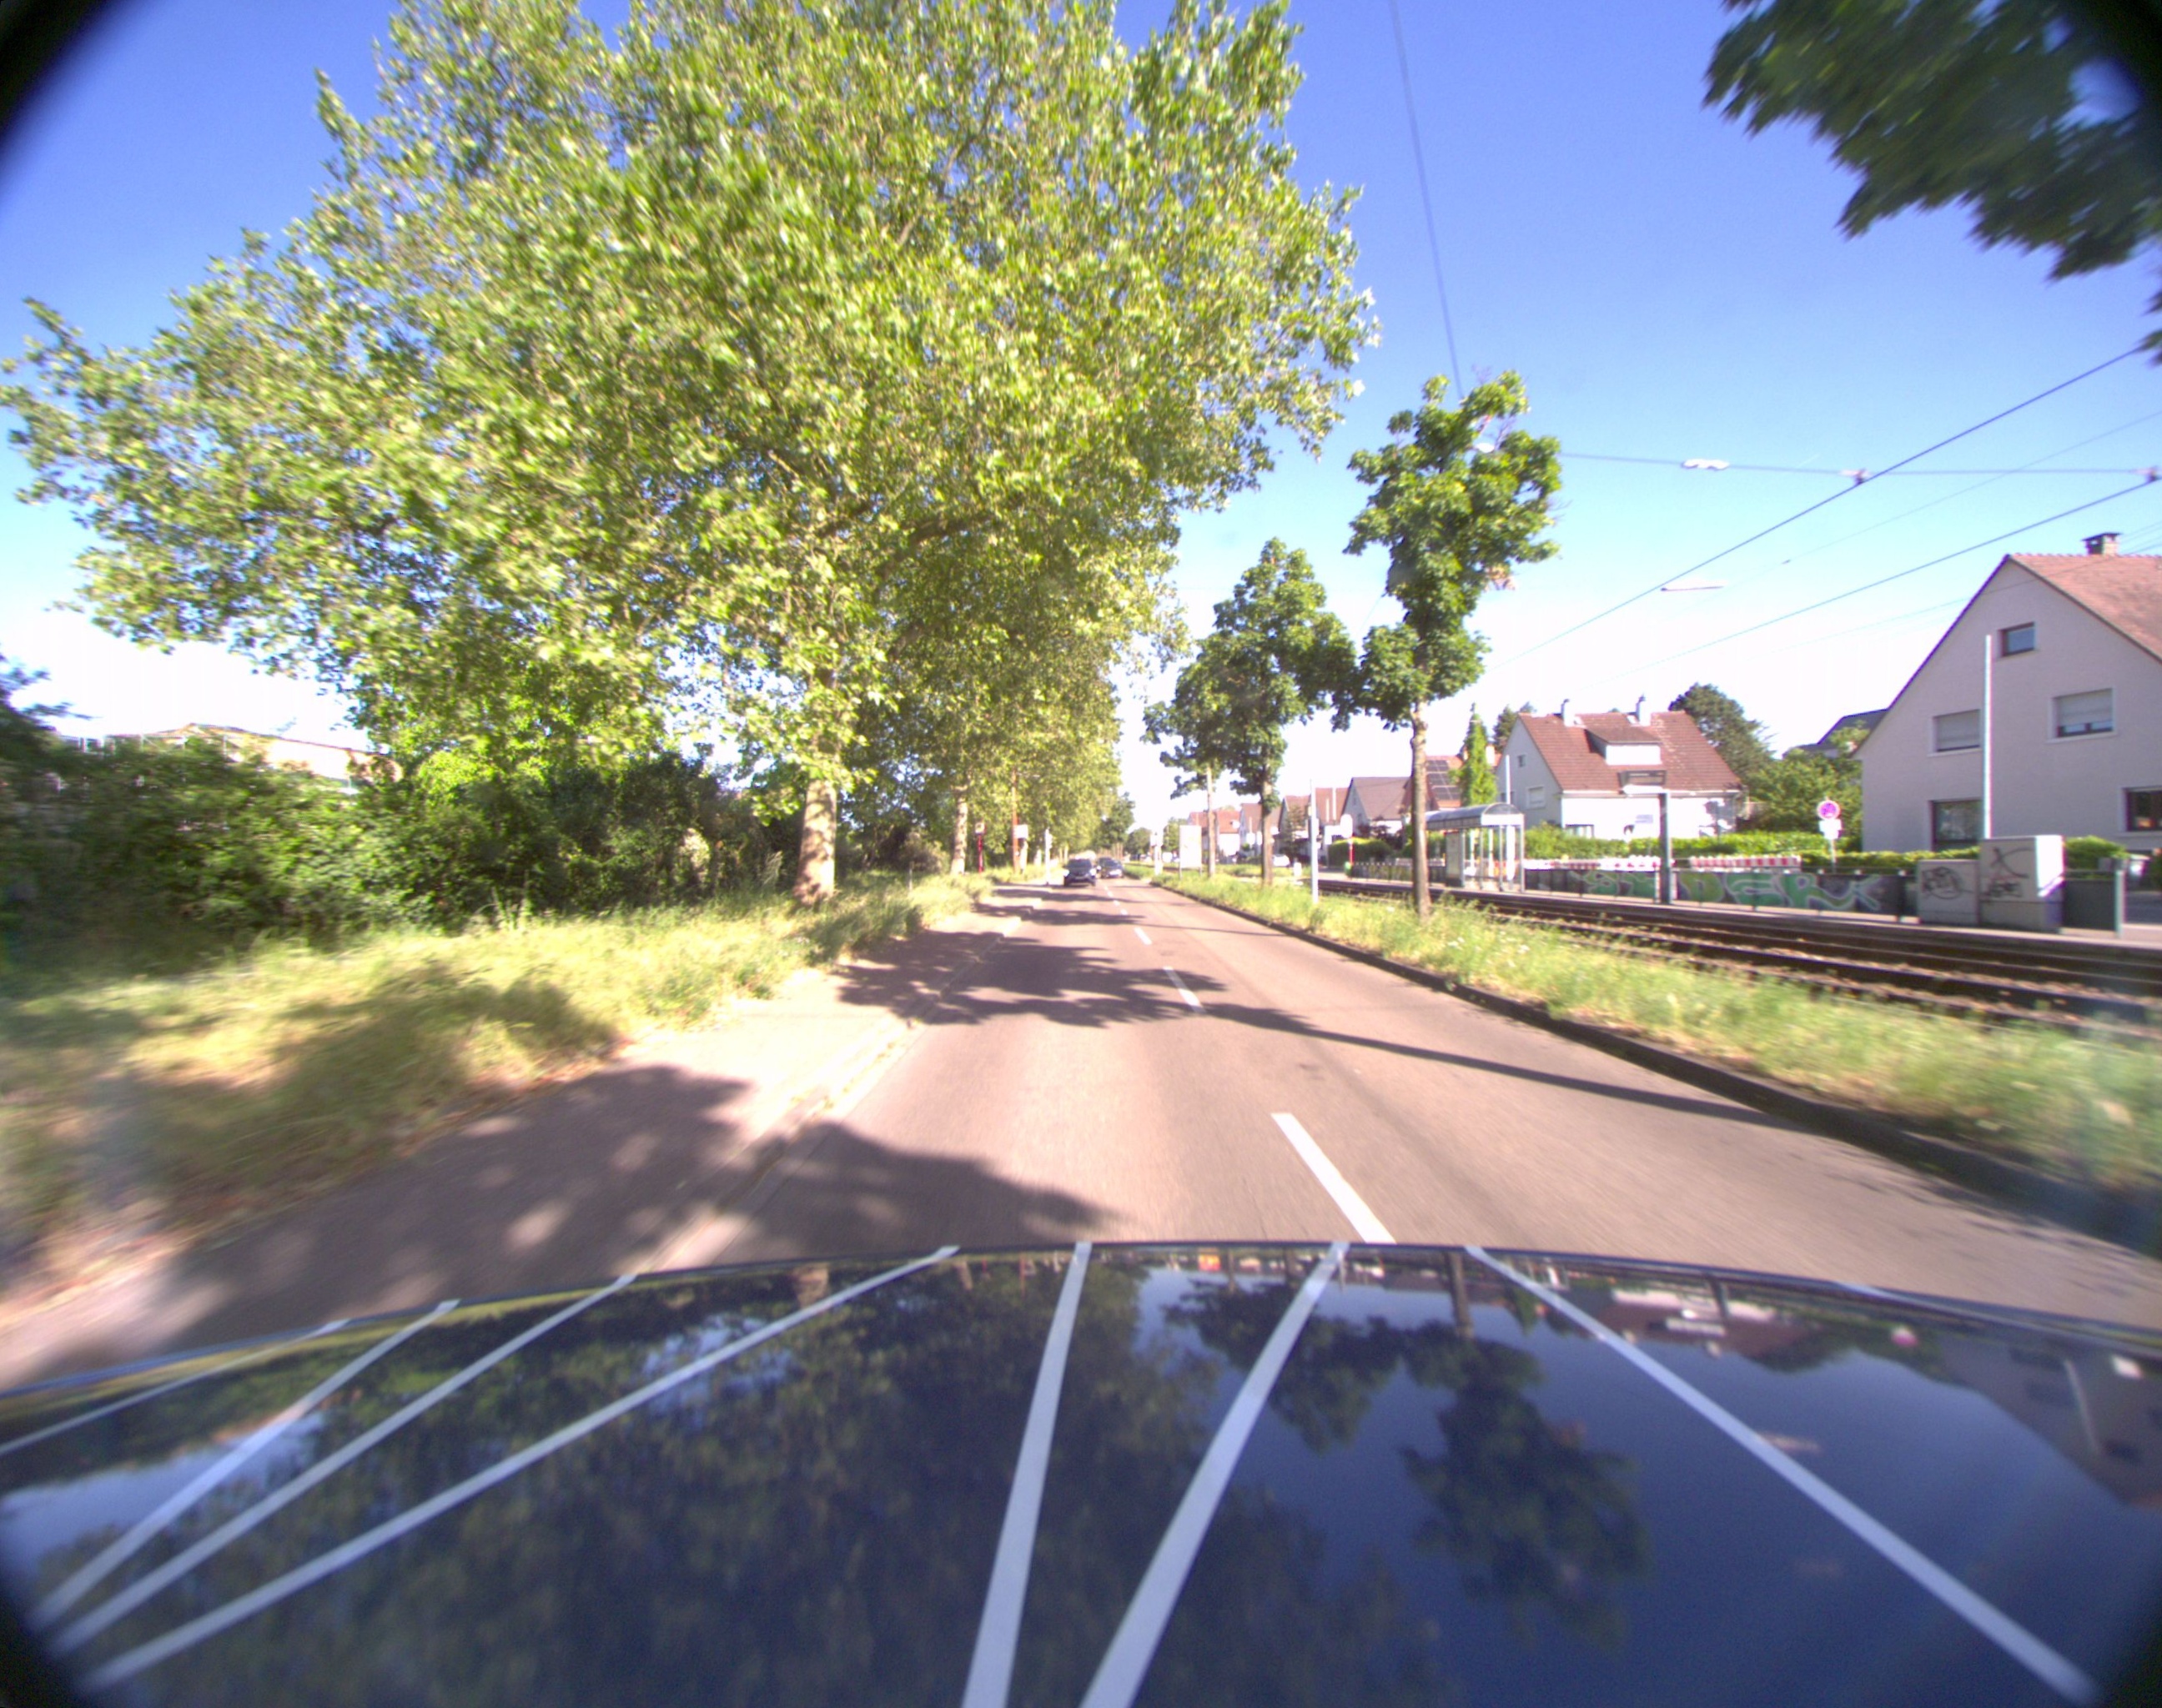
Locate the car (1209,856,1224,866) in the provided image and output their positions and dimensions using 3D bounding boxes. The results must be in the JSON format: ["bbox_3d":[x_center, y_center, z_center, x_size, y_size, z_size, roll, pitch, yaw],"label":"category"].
[{"bbox_3d":[22.213,1.152,124.719,1.738,1.481,3.756,-2,0,1],"label":"car"}]

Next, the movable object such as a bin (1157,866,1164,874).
[{"bbox_3d":[5.667,1.159,54.154,0.387,0.579,0.379,-2,1,9],"label":"movable object such as a bin"}]

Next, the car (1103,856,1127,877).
[{"bbox_3d":[2.617,0.954,58.602,1.692,1.499,3.582,-2,0,1],"label":"car"}]

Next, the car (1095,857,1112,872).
[{"bbox_3d":[2.410,1.155,81.790,1.692,1.499,3.582,-2,0,1],"label":"car"}]

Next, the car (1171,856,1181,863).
[{"bbox_3d":[22.470,1.296,179.376,1.791,1.497,4.000,-2,0,1],"label":"car"}]

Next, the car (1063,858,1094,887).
[{"bbox_3d":[-0.111,1.022,43.334,1.692,1.499,3.582,0,0,1],"label":"car"}]

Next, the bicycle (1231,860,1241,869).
[{"bbox_3d":[20.385,1.347,99.840,0.854,1.128,2.309,-2,0,1],"label":"bicycle"}]

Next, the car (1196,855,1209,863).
[{"bbox_3d":[22.567,0.856,141.619,1.756,1.373,3.823,-2,0,1],"label":"car"}]

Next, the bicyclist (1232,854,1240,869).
[{"bbox_3d":[20.375,0.970,99.768,0.854,1.876,1.072,-2,1,0],"label":"bicyclist"}]

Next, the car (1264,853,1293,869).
[{"bbox_3d":[22.179,0.711,85.563,1.998,1.668,4.839,-2,0,1],"label":"car"}]

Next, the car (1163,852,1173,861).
[{"bbox_3d":[22.671,0.552,197.941,2.132,2.210,4.001,-2,0,3],"label":"car"}]

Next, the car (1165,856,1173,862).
[{"bbox_3d":[22.352,1.340,193.308,1.791,1.497,4.001,-2,0,3],"label":"car"}]

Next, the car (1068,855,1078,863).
[{"bbox_3d":[-1.490,0.963,143.882,1.692,1.499,3.582,-2,0,1],"label":"car"}]
